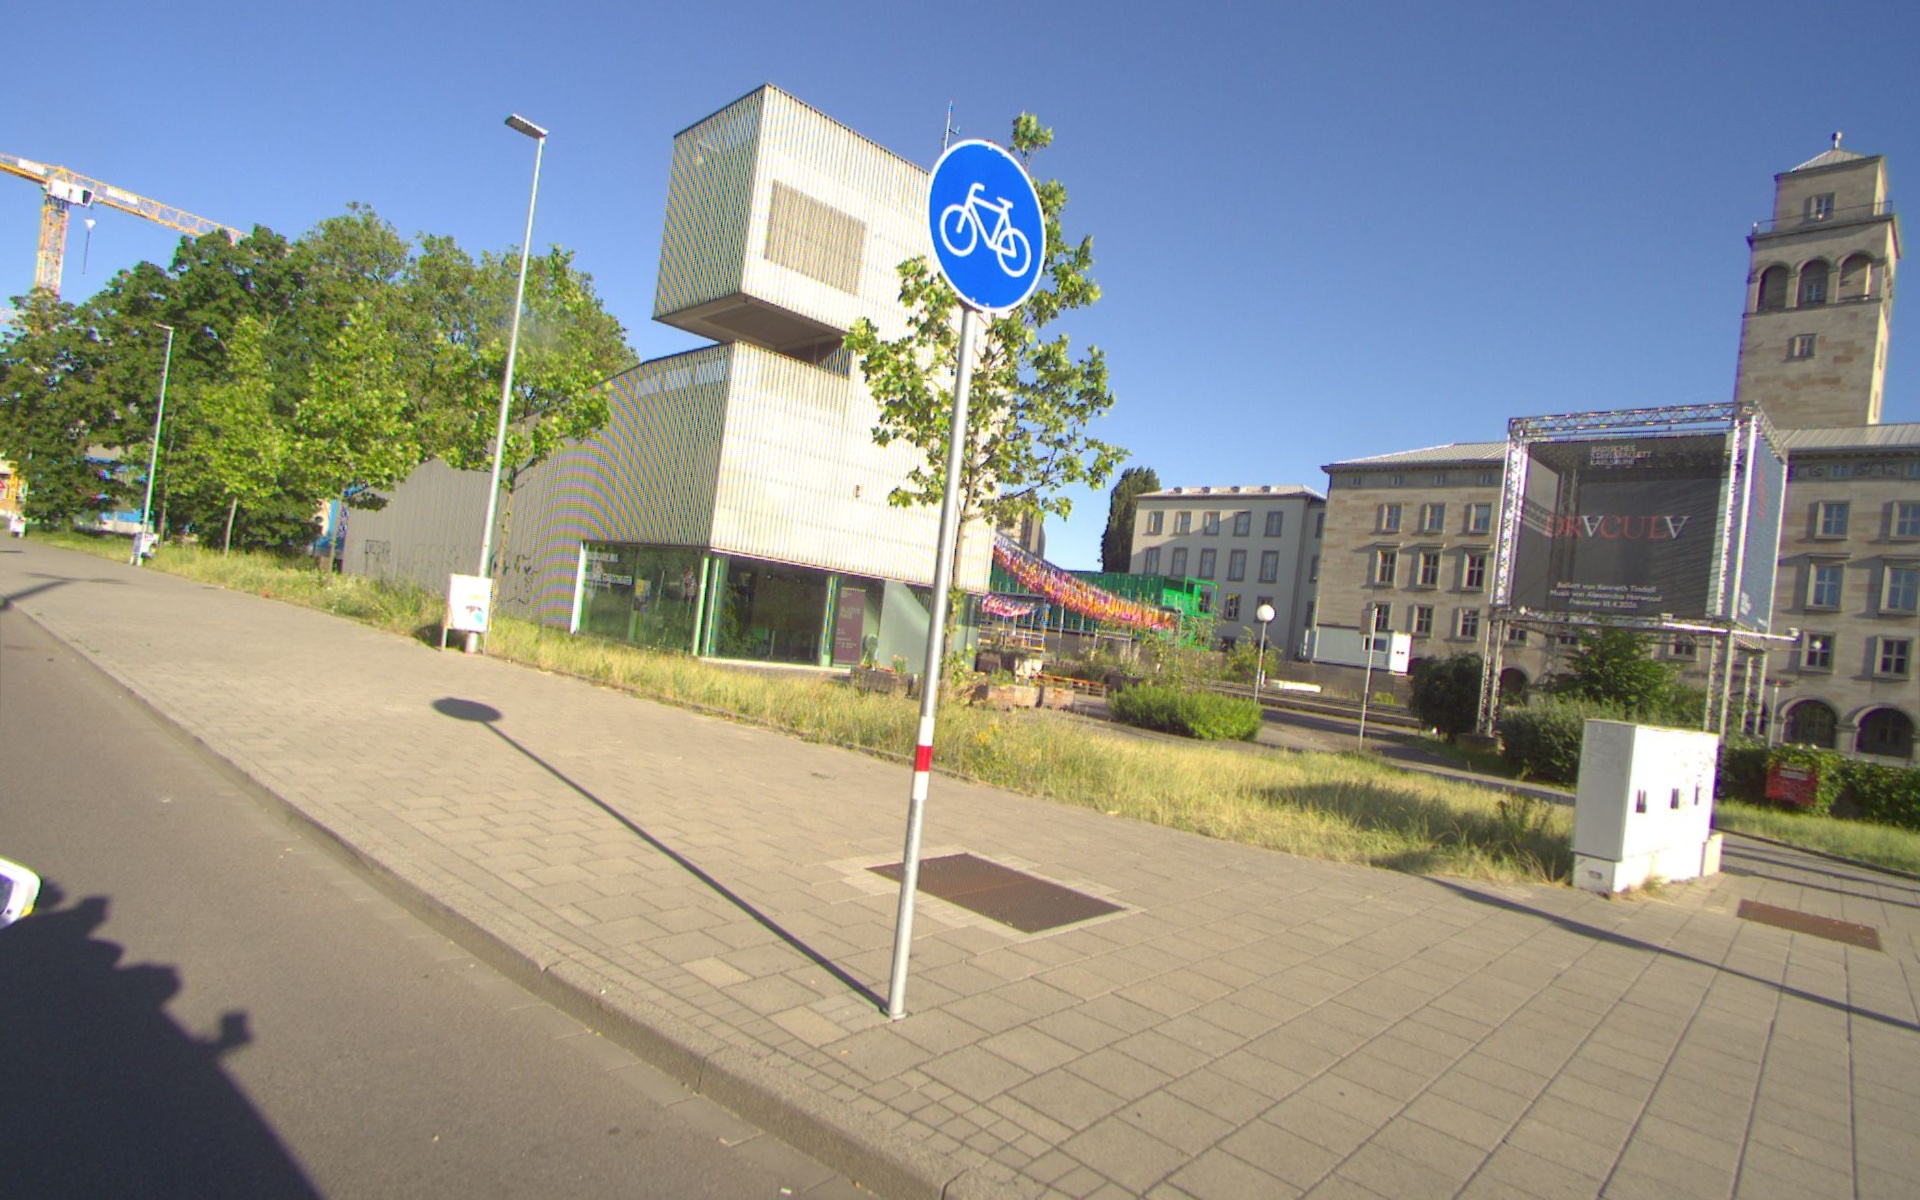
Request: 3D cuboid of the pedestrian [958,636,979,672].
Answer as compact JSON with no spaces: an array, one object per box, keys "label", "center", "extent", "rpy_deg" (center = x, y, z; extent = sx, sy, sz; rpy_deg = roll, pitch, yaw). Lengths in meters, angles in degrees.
[{"label":"pedestrian","center":[0.367,2.251,41.999],"extent":[0.637,1.397,0.630],"rpy_deg":[7,-1,-7]}]
